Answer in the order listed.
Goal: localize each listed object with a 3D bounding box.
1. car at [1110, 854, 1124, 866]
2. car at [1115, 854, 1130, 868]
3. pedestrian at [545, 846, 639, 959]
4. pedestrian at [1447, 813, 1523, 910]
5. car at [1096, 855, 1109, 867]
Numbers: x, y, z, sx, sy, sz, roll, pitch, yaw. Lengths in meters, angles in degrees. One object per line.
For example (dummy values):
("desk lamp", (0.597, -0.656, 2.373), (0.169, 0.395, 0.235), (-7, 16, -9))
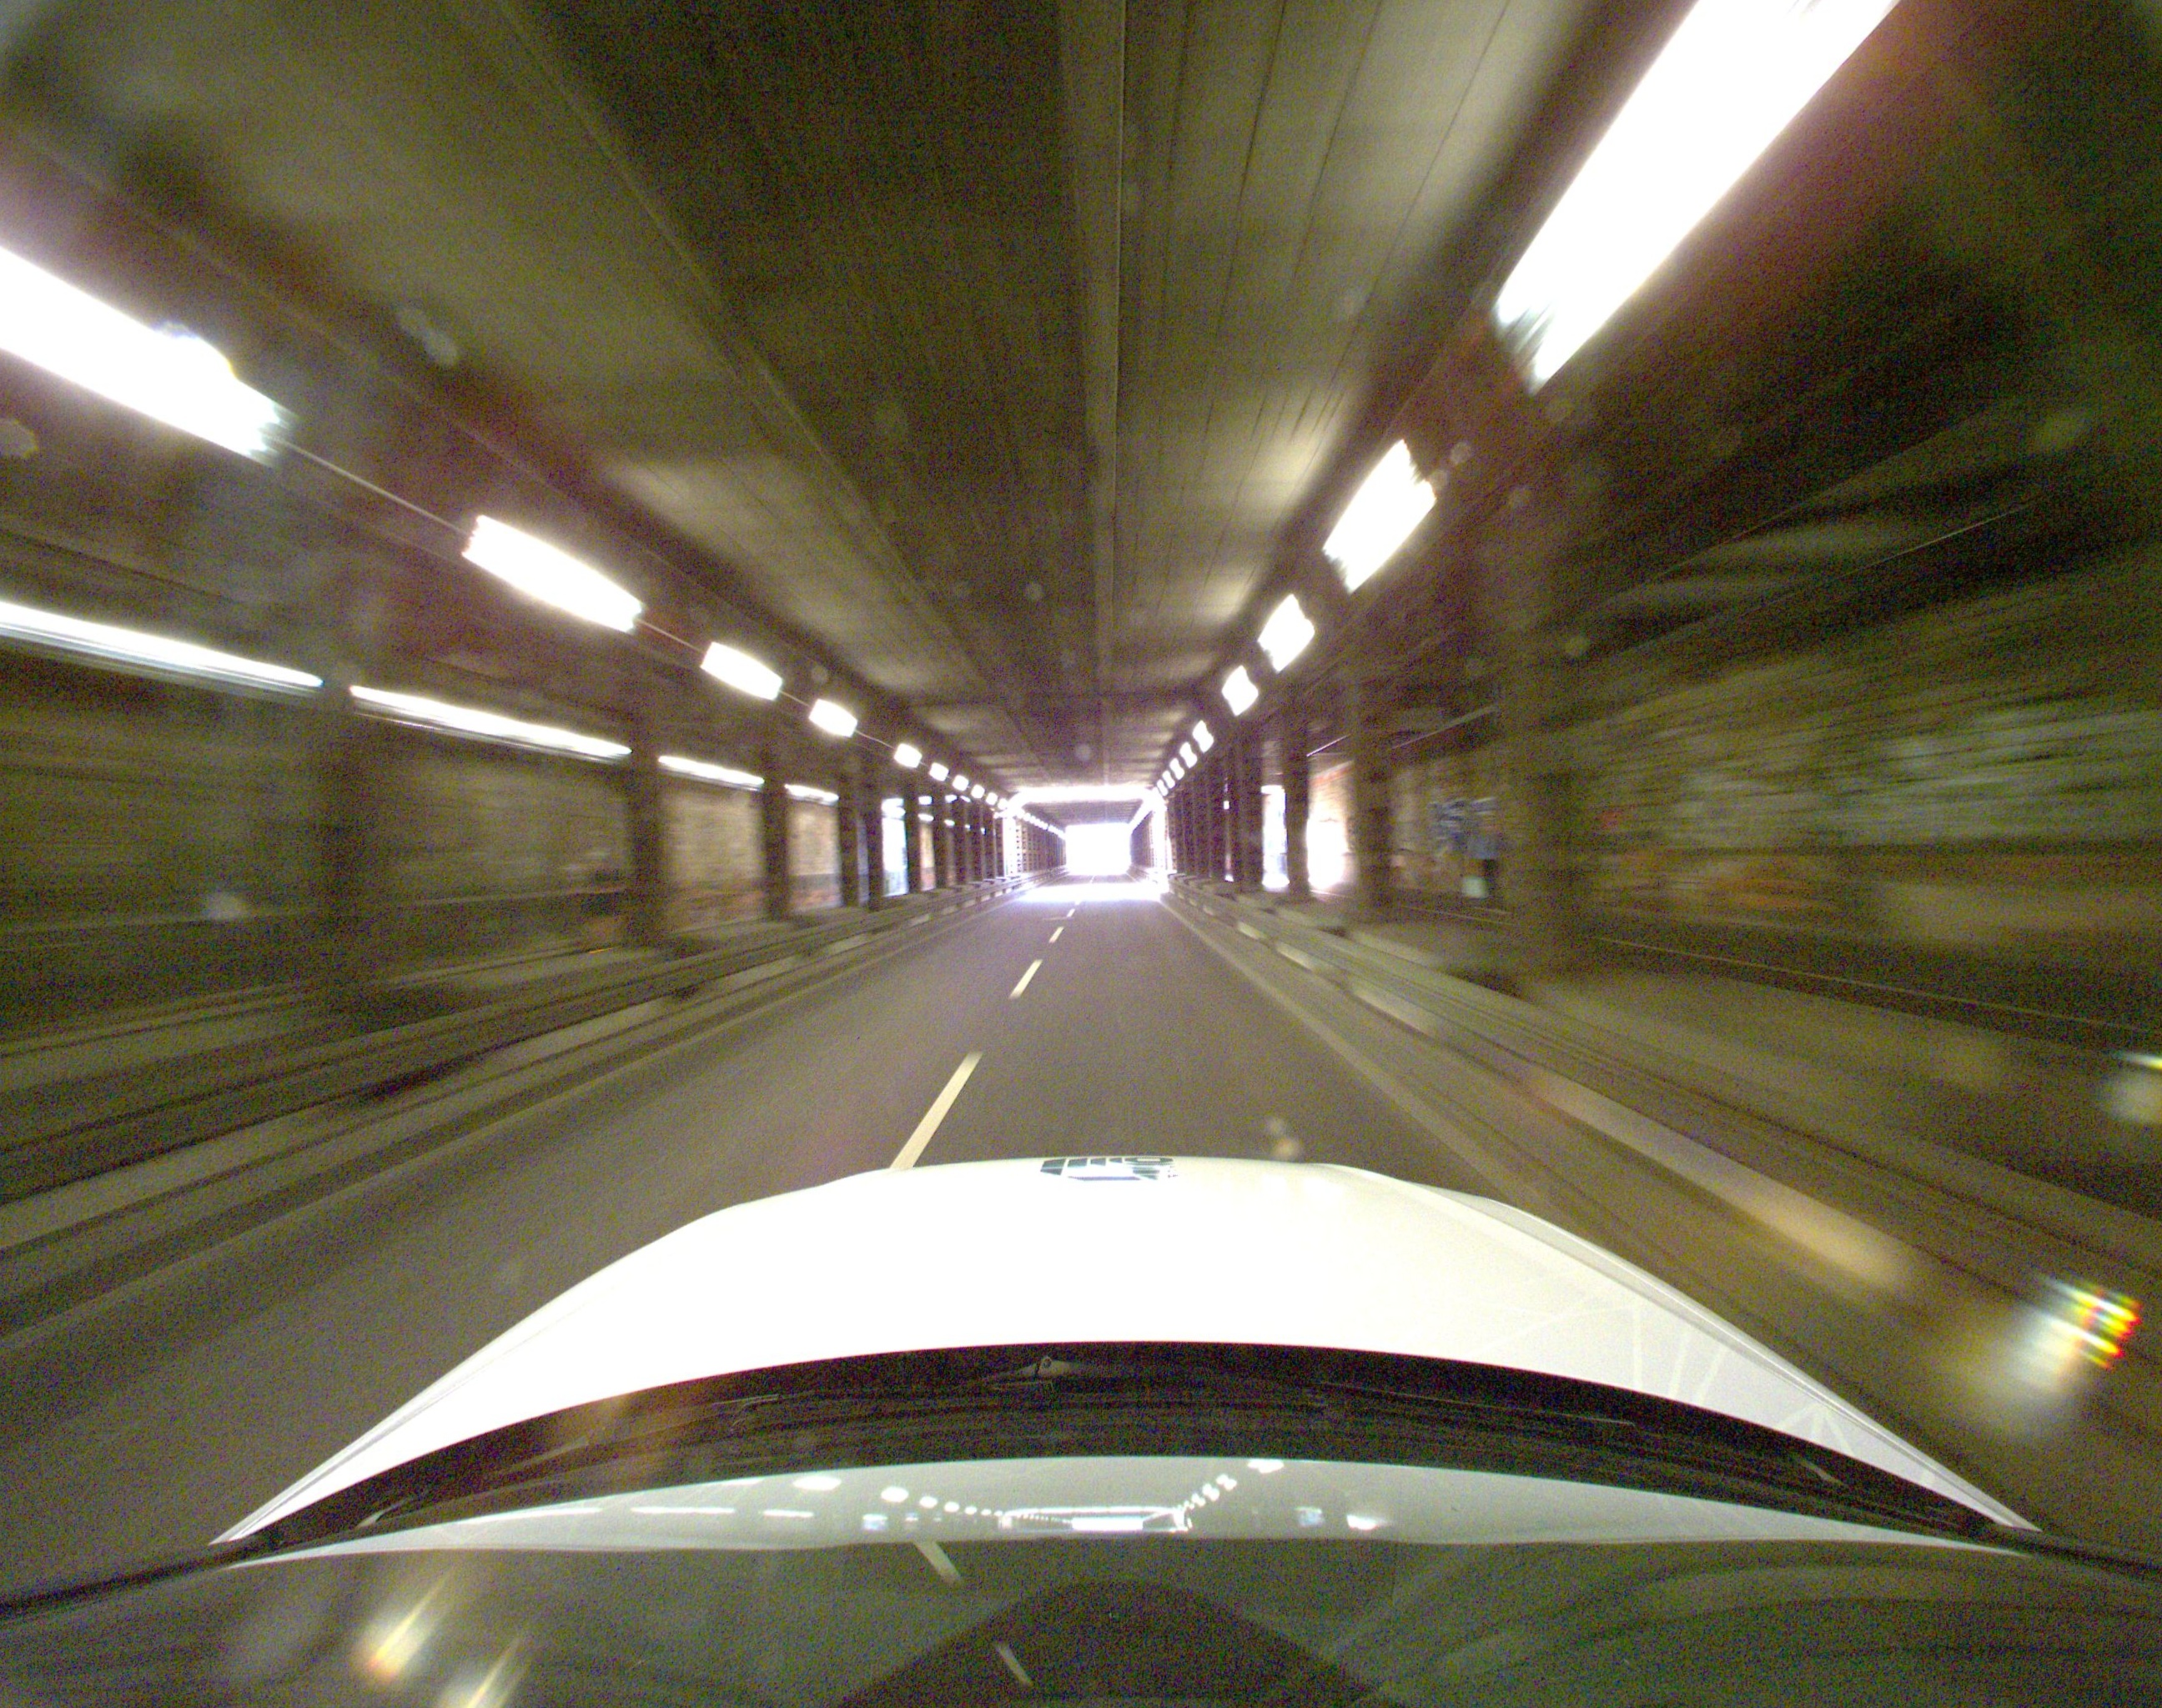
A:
("car", (5.472, 0.900, 123.795), (1.986, 1.784, 4.002), (-2, 0, 2))
("car", (5.748, 0.997, 113.809), (1.986, 1.784, 4.002), (-2, 0, 2))
("pedestrian", (-9.376, 0.906, 15.677), (0.955, 2.055, 1.356), (-1, -2, 2))
("pedestrian", (7.574, 0.137, 15.306), (0.797, 1.702, 1.111), (-3, -1, 1))
("car", (3.387, 1.137, 130.113), (1.986, 1.784, 4.002), (-2, 0, 2))
